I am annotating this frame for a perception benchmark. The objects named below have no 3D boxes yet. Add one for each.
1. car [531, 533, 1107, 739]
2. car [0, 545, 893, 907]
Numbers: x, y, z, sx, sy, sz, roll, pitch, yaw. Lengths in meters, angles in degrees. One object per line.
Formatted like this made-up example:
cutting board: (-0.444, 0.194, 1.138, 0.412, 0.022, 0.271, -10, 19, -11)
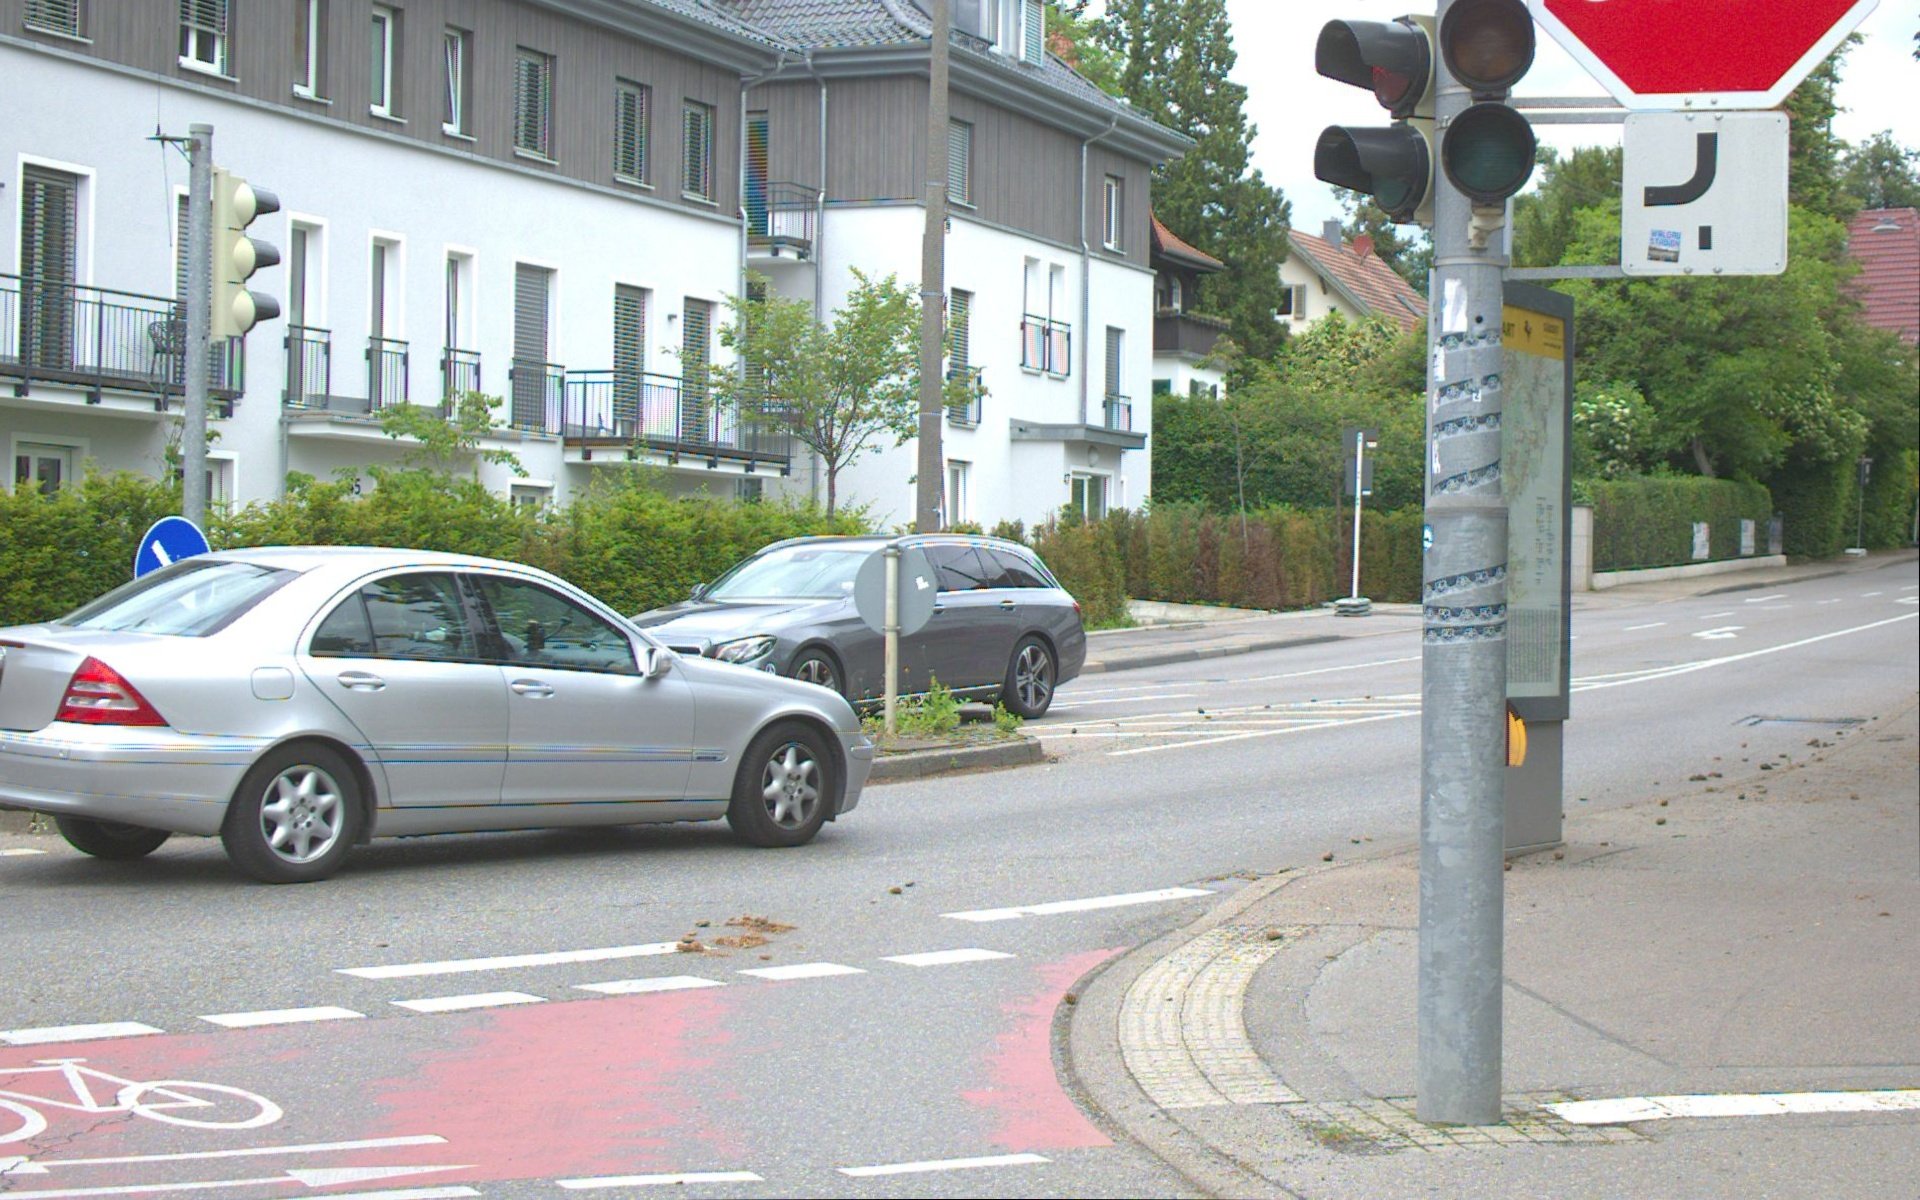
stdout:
car: (-0.957, 0.203, 26.184, 1.942, 1.399, 4.733, 1, 2, 34)
car: (-2.519, 0.467, 15.750, 4.413, 1.408, 1.709, -1, 2, -43)
